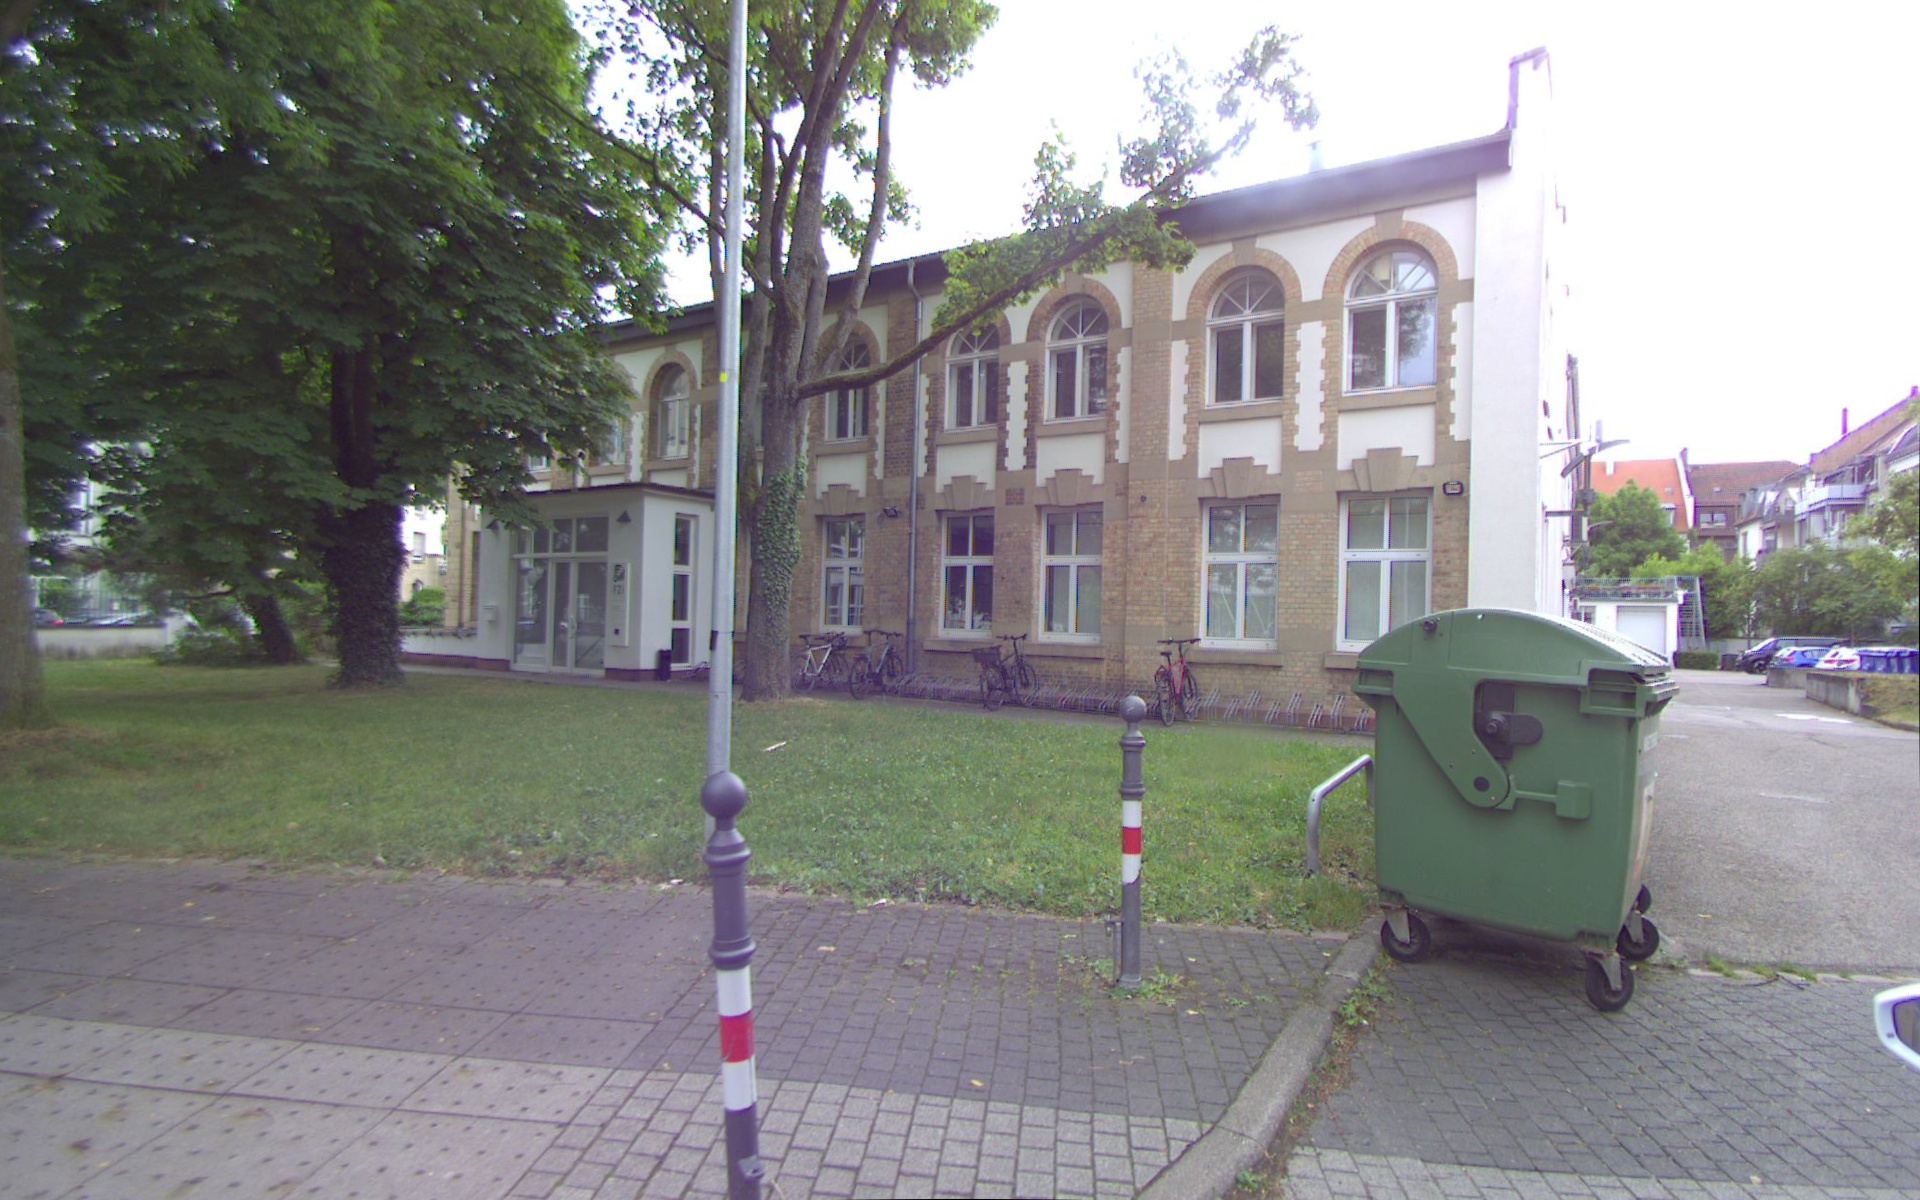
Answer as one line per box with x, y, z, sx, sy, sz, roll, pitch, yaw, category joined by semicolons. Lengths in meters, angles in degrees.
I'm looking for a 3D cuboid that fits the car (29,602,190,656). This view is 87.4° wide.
-22.463;0.747;26.687;1.483;1.320;3.180;1;-1;2;car

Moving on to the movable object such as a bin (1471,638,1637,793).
5.537;1.006;9.340;1.041;1.281;1.346;0;-1;44;movable object such as a bin

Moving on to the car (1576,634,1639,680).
23.820;2.079;36.990;1.822;1.528;3.991;1;-2;33;car

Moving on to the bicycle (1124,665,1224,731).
3.074;1.361;14.291;0.609;0.824;1.937;0;-2;38;bicycle

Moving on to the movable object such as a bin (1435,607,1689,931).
3.204;0.809;5.504;1.036;1.475;1.353;1;-1;26;movable object such as a bin

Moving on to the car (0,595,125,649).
-37.302;0.912;41.377;3.942;2.040;1.990;3;-2;-22;car

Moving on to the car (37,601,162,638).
-37.378;0.833;43.724;3.663;1.404;1.692;3;-1;-20;car

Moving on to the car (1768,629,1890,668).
39.800;2.198;46.119;3.922;1.595;1.585;1;-1;22;car

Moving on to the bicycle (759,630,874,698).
-2.529;1.117;17.986;0.609;1.134;2.212;0;-2;38;bicycle

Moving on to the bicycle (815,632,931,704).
-1.433;1.130;17.065;0.609;1.134;2.212;0;-2;38;bicycle

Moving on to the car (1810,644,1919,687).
37.792;2.683;41.251;3.922;1.595;2.000;1;-1;22;car

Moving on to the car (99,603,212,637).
-37.434;0.933;46.841;3.663;1.404;1.692;3;-1;-20;car

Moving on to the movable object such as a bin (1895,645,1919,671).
25.035;1.526;26.098;0.952;0.645;0.909;1;-2;34;movable object such as a bin

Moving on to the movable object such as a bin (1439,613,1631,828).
3.886;0.746;6.921;1.036;1.281;1.352;1;-1;26;movable object such as a bin

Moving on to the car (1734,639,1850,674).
42.396;2.865;51.299;4.114;1.595;2.000;1;-1;22;car

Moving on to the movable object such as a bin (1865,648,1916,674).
26.885;1.768;29.030;0.952;0.688;0.809;1;-2;34;movable object such as a bin

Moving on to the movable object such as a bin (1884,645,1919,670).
25.741;1.563;27.177;0.952;0.645;0.909;1;-2;34;movable object such as a bin

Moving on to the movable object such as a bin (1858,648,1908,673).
27.368;1.799;29.788;0.952;0.688;0.868;1;-2;34;movable object such as a bin

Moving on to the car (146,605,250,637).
-37.674;1.035;49.736;3.663;1.404;1.692;3;-1;-20;car

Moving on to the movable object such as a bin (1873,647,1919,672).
26.363;1.674;28.183;0.952;0.645;0.909;1;-2;34;movable object such as a bin

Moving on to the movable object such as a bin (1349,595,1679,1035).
2.387;0.755;4.255;1.039;1.469;1.350;1;-2;36;movable object such as a bin

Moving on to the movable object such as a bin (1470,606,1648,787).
4.716;0.710;8.027;1.035;1.281;1.353;1;-1;23;movable object such as a bin

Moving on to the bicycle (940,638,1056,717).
0.634;1.165;15.619;0.609;1.134;2.212;0;-2;38;bicycle
